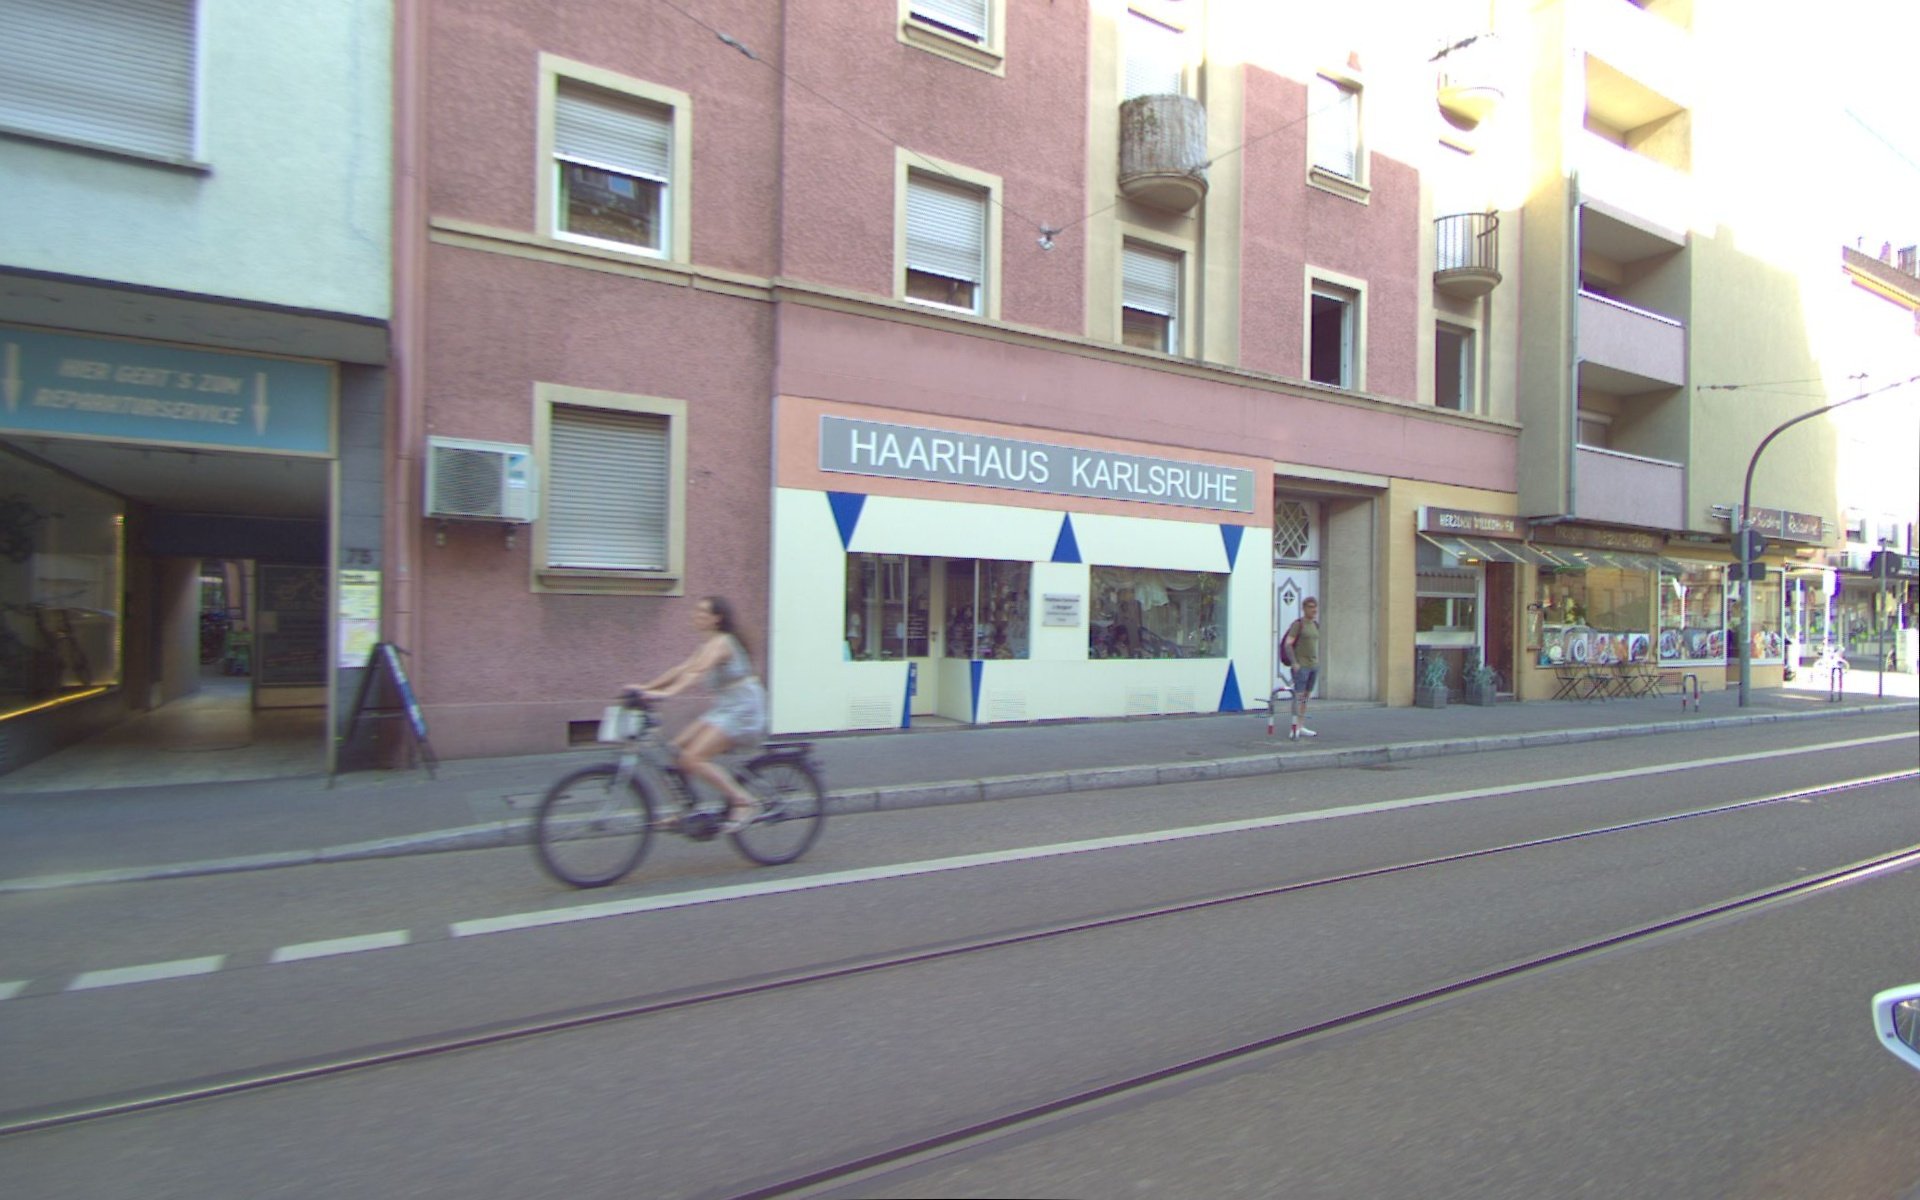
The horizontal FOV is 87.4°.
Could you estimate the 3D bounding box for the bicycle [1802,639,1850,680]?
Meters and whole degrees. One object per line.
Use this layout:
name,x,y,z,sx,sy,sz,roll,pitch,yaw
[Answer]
bicycle,27.250,1.865,31.601,2.413,1.124,0.676,-1,1,-38

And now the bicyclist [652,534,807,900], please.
bicyclist,-1.393,0.659,6.039,0.725,2.040,0.609,1,0,-30

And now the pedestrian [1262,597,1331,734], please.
pedestrian,4.321,0.824,12.903,0.609,1.708,0.560,2,0,-32

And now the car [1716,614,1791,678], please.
car,26.739,1.512,33.884,1.821,1.841,4.338,-3,0,38

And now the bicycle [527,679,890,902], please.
bicycle,-1.452,1.049,5.999,2.020,1.110,0.599,2,-3,-31

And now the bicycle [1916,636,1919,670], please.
bicycle,32.022,1.780,32.256,0.670,1.124,2.437,0,1,10

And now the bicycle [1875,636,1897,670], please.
bicycle,31.448,1.784,34.138,0.398,1.124,1.830,0,-2,38
